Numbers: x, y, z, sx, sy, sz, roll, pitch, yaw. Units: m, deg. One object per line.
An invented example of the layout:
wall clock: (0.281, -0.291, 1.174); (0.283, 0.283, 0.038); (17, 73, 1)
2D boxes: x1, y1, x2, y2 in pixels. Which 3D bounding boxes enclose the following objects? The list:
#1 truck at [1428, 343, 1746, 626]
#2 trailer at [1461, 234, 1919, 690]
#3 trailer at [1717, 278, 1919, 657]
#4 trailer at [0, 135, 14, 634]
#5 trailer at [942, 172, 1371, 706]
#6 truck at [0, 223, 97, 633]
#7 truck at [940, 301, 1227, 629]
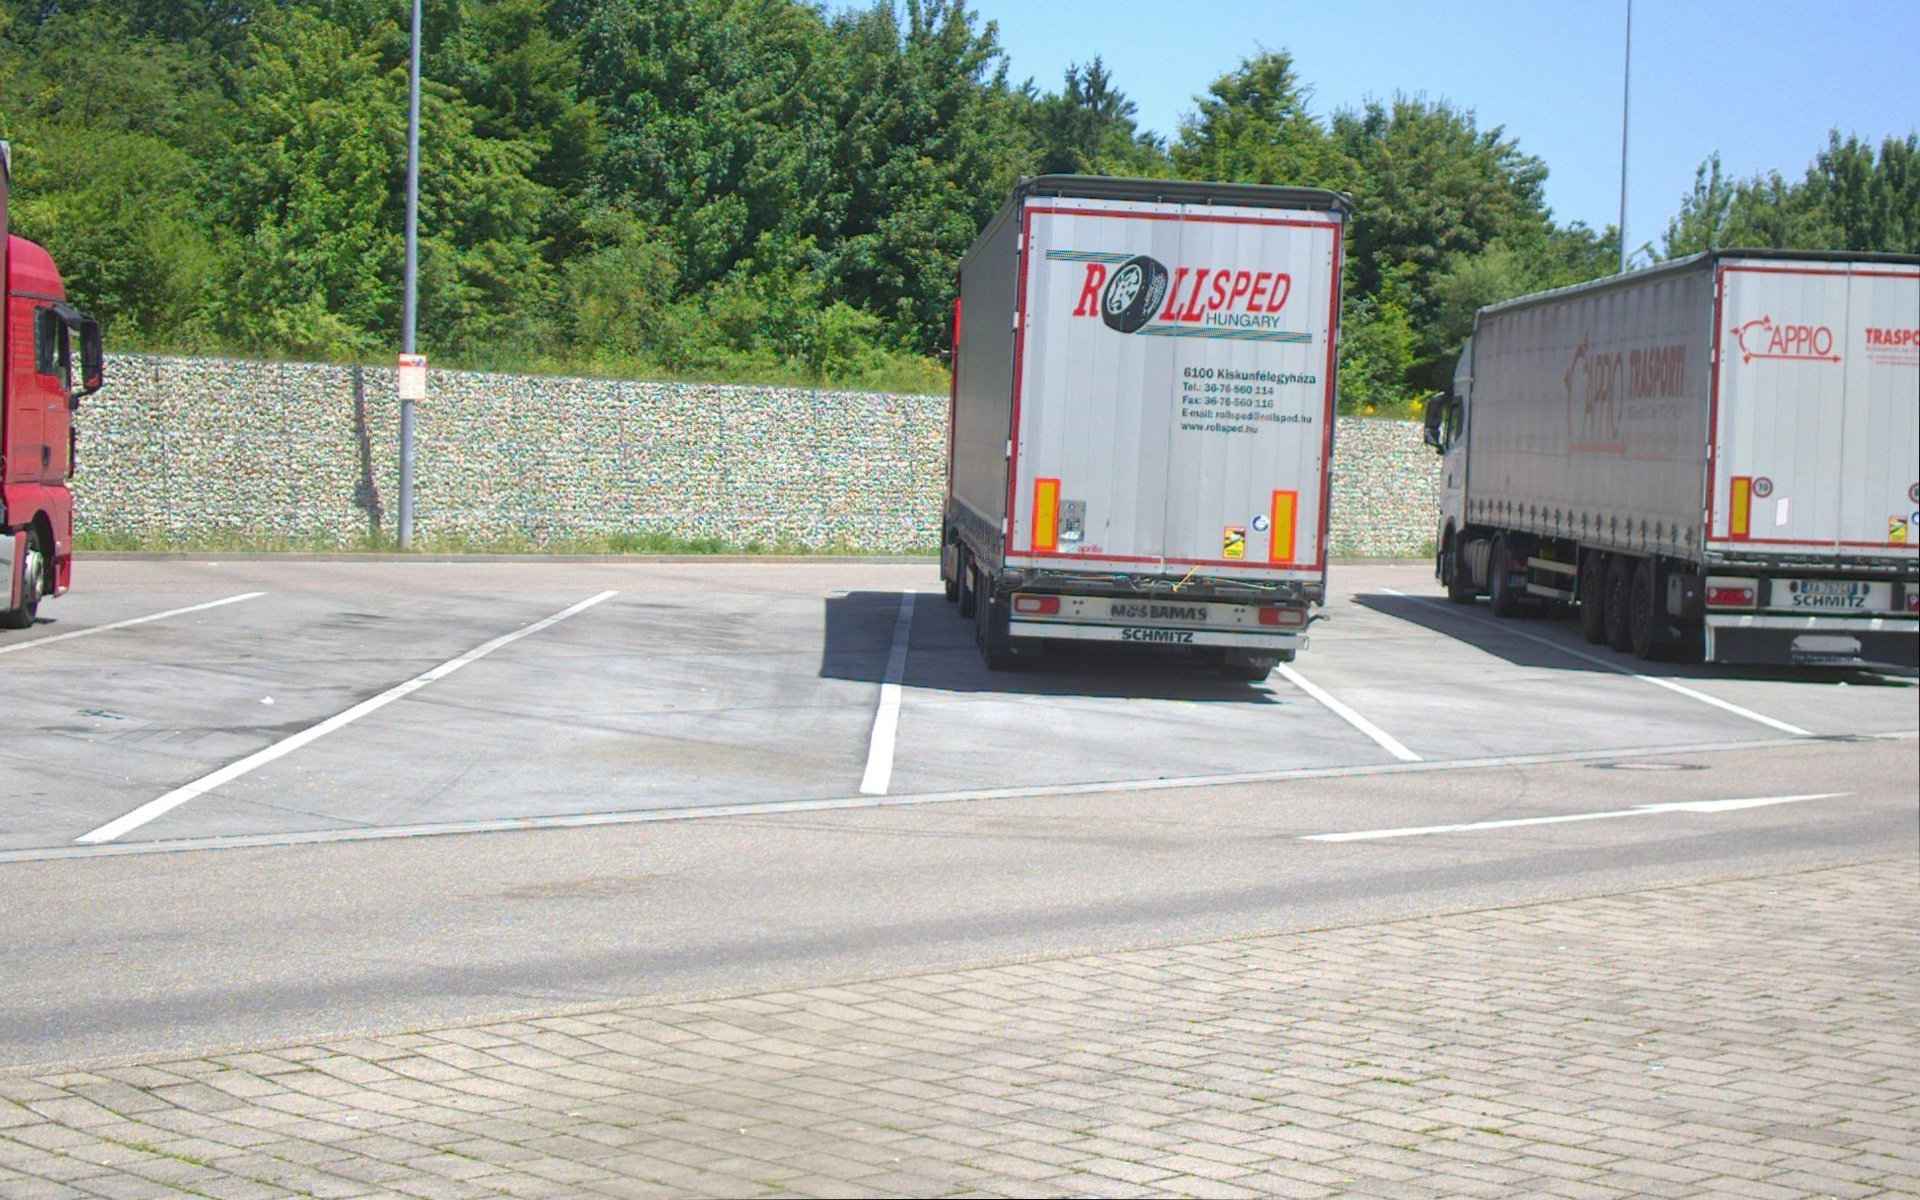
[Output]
truck: (8.091, -1.560, 45.121); (2.865, 3.351, 5.975); (2, 3, -1)
trailer: (8.193, -1.580, 38.355); (2.858, 4.095, 13.765); (2, 3, -1)
trailer: (11.790, -1.494, 39.367); (2.858, 4.095, 13.765); (2, 3, -1)
trailer: (-9.160, -1.462, 21.360); (2.821, 4.057, 13.765); (2, 3, -1)
trailer: (1.463, -1.561, 33.101); (2.858, 3.958, 13.765); (2, 3, -1)
truck: (-9.248, -1.452, 28.180); (2.812, 3.351, 5.975); (2, 3, -1)
truck: (1.280, -1.566, 39.303); (2.865, 3.351, 5.975); (2, 3, -1)
